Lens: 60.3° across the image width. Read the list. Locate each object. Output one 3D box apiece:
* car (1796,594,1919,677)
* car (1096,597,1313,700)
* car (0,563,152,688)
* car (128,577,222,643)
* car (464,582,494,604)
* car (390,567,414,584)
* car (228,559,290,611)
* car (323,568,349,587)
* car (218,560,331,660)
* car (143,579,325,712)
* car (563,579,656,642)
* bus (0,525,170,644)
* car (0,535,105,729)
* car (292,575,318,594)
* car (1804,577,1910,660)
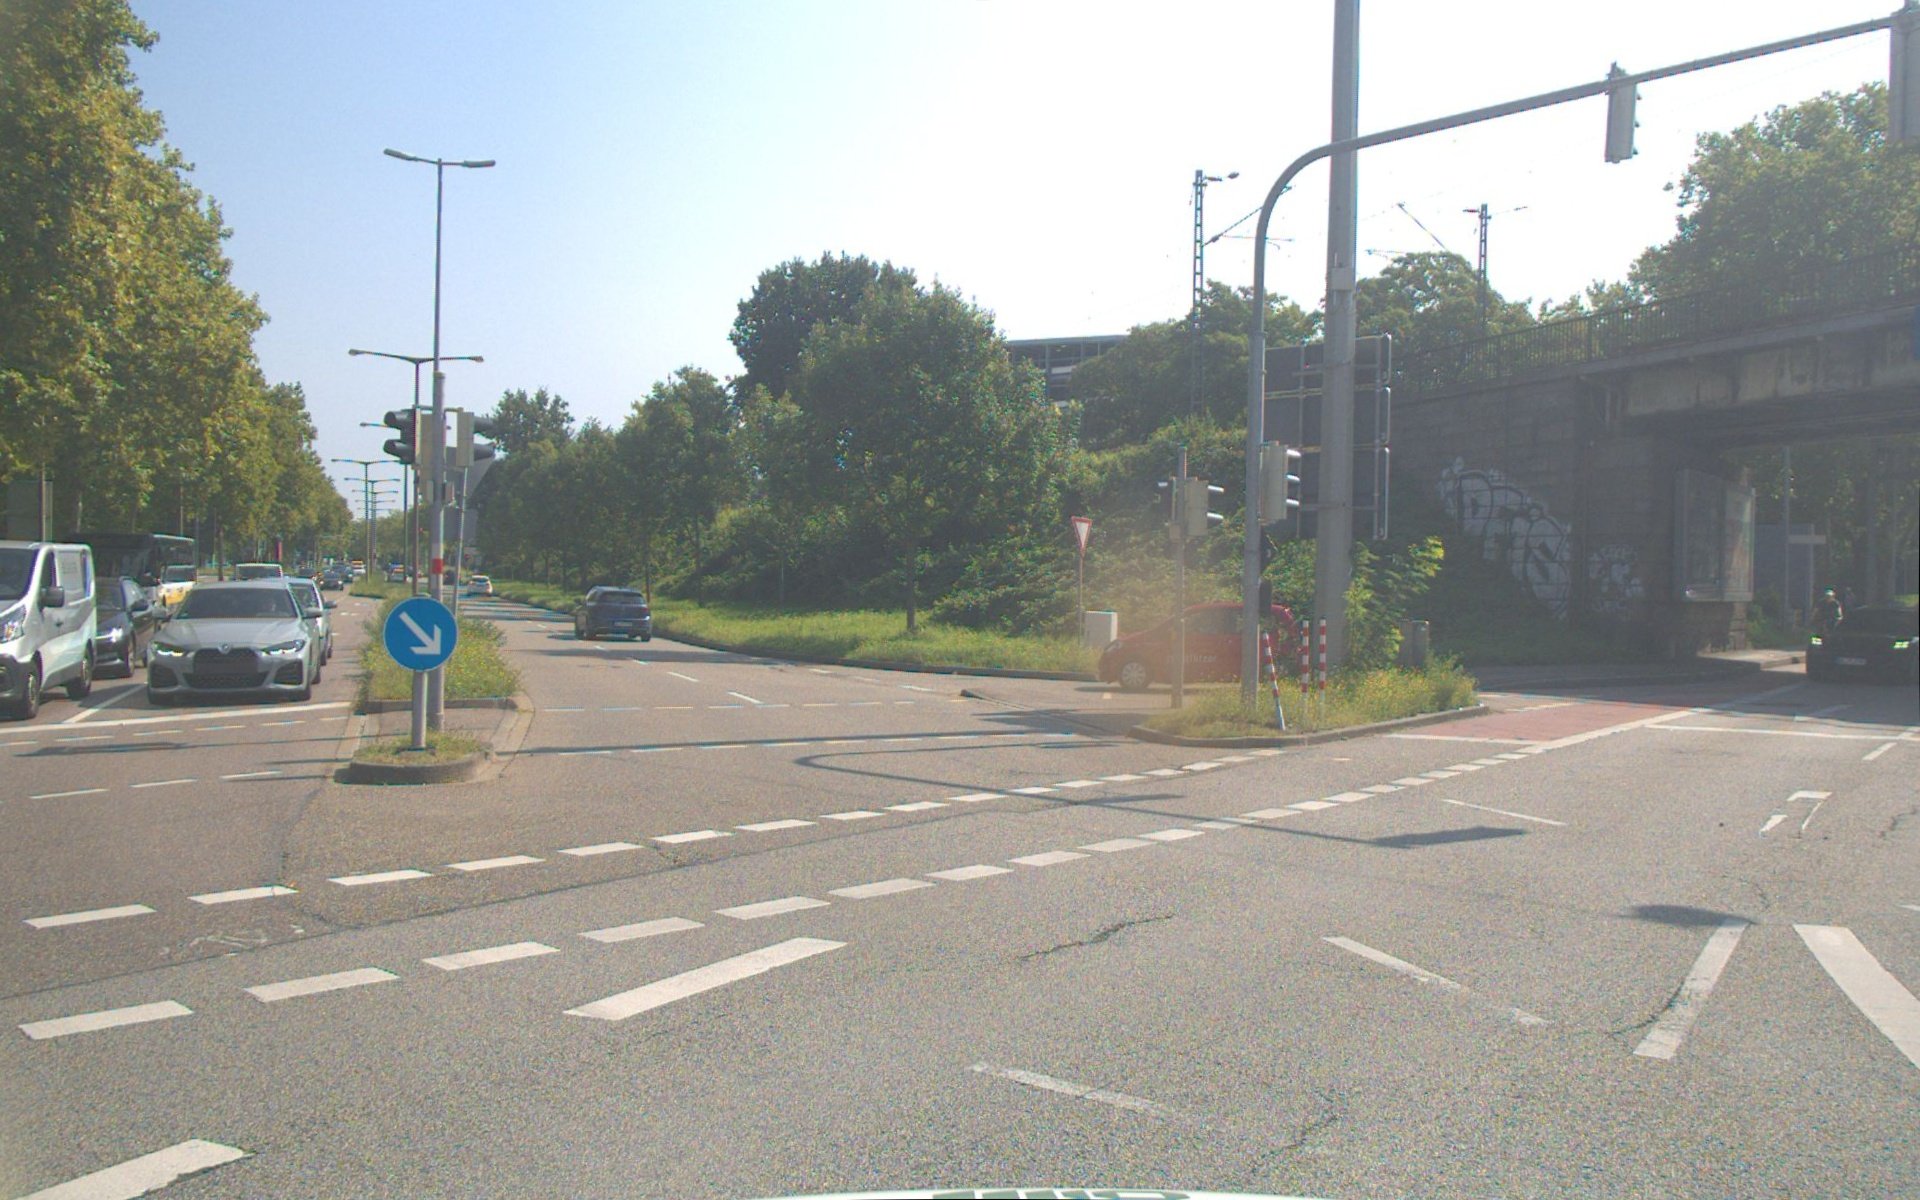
[{"bbox_3d":[18.482,0.650,32.741,4.849,1.488,1.968,-1,-1,-44],"label":"car"},{"bbox_3d":[4.119,0.789,28.004,3.467,1.492,1.645,3,1,8],"label":"car"},{"bbox_3d":[-14.814,0.364,27.640,1.691,1.881,4.678,-1,1,-18],"label":"car"},{"bbox_3d":[-19.986,0.234,42.237,1.642,1.562,3.711,-1,1,-18],"label":"car"},{"bbox_3d":[-37.334,-0.541,128.319,1.964,1.683,3.977,0,0,-20],"label":"car"},{"bbox_3d":[-57.437,-2.518,170.321,1.960,1.731,3.986,0,0,-14],"label":"car"},{"bbox_3d":[-29.229,-0.662,68.863,1.905,1.994,5.142,-2,2,-28],"label":"car"},{"bbox_3d":[-51.444,-1.829,136.453,1.818,1.515,4.619,-2,1,-19],"label":"car"},{"bbox_3d":[-11.751,0.199,28.535,1.591,1.562,4.076,-2,-1,-20],"label":"car"},{"bbox_3d":[-9.212,0.488,21.298,1.808,1.468,4.579,-1,1,-20],"label":"car"},{"bbox_3d":[-9.785,0.259,45.927,1.757,1.452,3.973,2,3,-23],"label":"car"},{"bbox_3d":[-23.139,-0.419,43.972,2.622,2.741,10.844,-1,1,-19],"label":"bus"},{"bbox_3d":[-11.369,0.255,19.224,1.899,1.992,5.182,0,1,-20],"label":"car"},{"bbox_3d":[-58.787,-1.359,148.357,1.822,1.633,4.573,1,-1,-25],"label":"car"},{"bbox_3d":[22.789,0.434,41.954,1.959,1.880,3.989,4,3,33],"label":"car"}]
